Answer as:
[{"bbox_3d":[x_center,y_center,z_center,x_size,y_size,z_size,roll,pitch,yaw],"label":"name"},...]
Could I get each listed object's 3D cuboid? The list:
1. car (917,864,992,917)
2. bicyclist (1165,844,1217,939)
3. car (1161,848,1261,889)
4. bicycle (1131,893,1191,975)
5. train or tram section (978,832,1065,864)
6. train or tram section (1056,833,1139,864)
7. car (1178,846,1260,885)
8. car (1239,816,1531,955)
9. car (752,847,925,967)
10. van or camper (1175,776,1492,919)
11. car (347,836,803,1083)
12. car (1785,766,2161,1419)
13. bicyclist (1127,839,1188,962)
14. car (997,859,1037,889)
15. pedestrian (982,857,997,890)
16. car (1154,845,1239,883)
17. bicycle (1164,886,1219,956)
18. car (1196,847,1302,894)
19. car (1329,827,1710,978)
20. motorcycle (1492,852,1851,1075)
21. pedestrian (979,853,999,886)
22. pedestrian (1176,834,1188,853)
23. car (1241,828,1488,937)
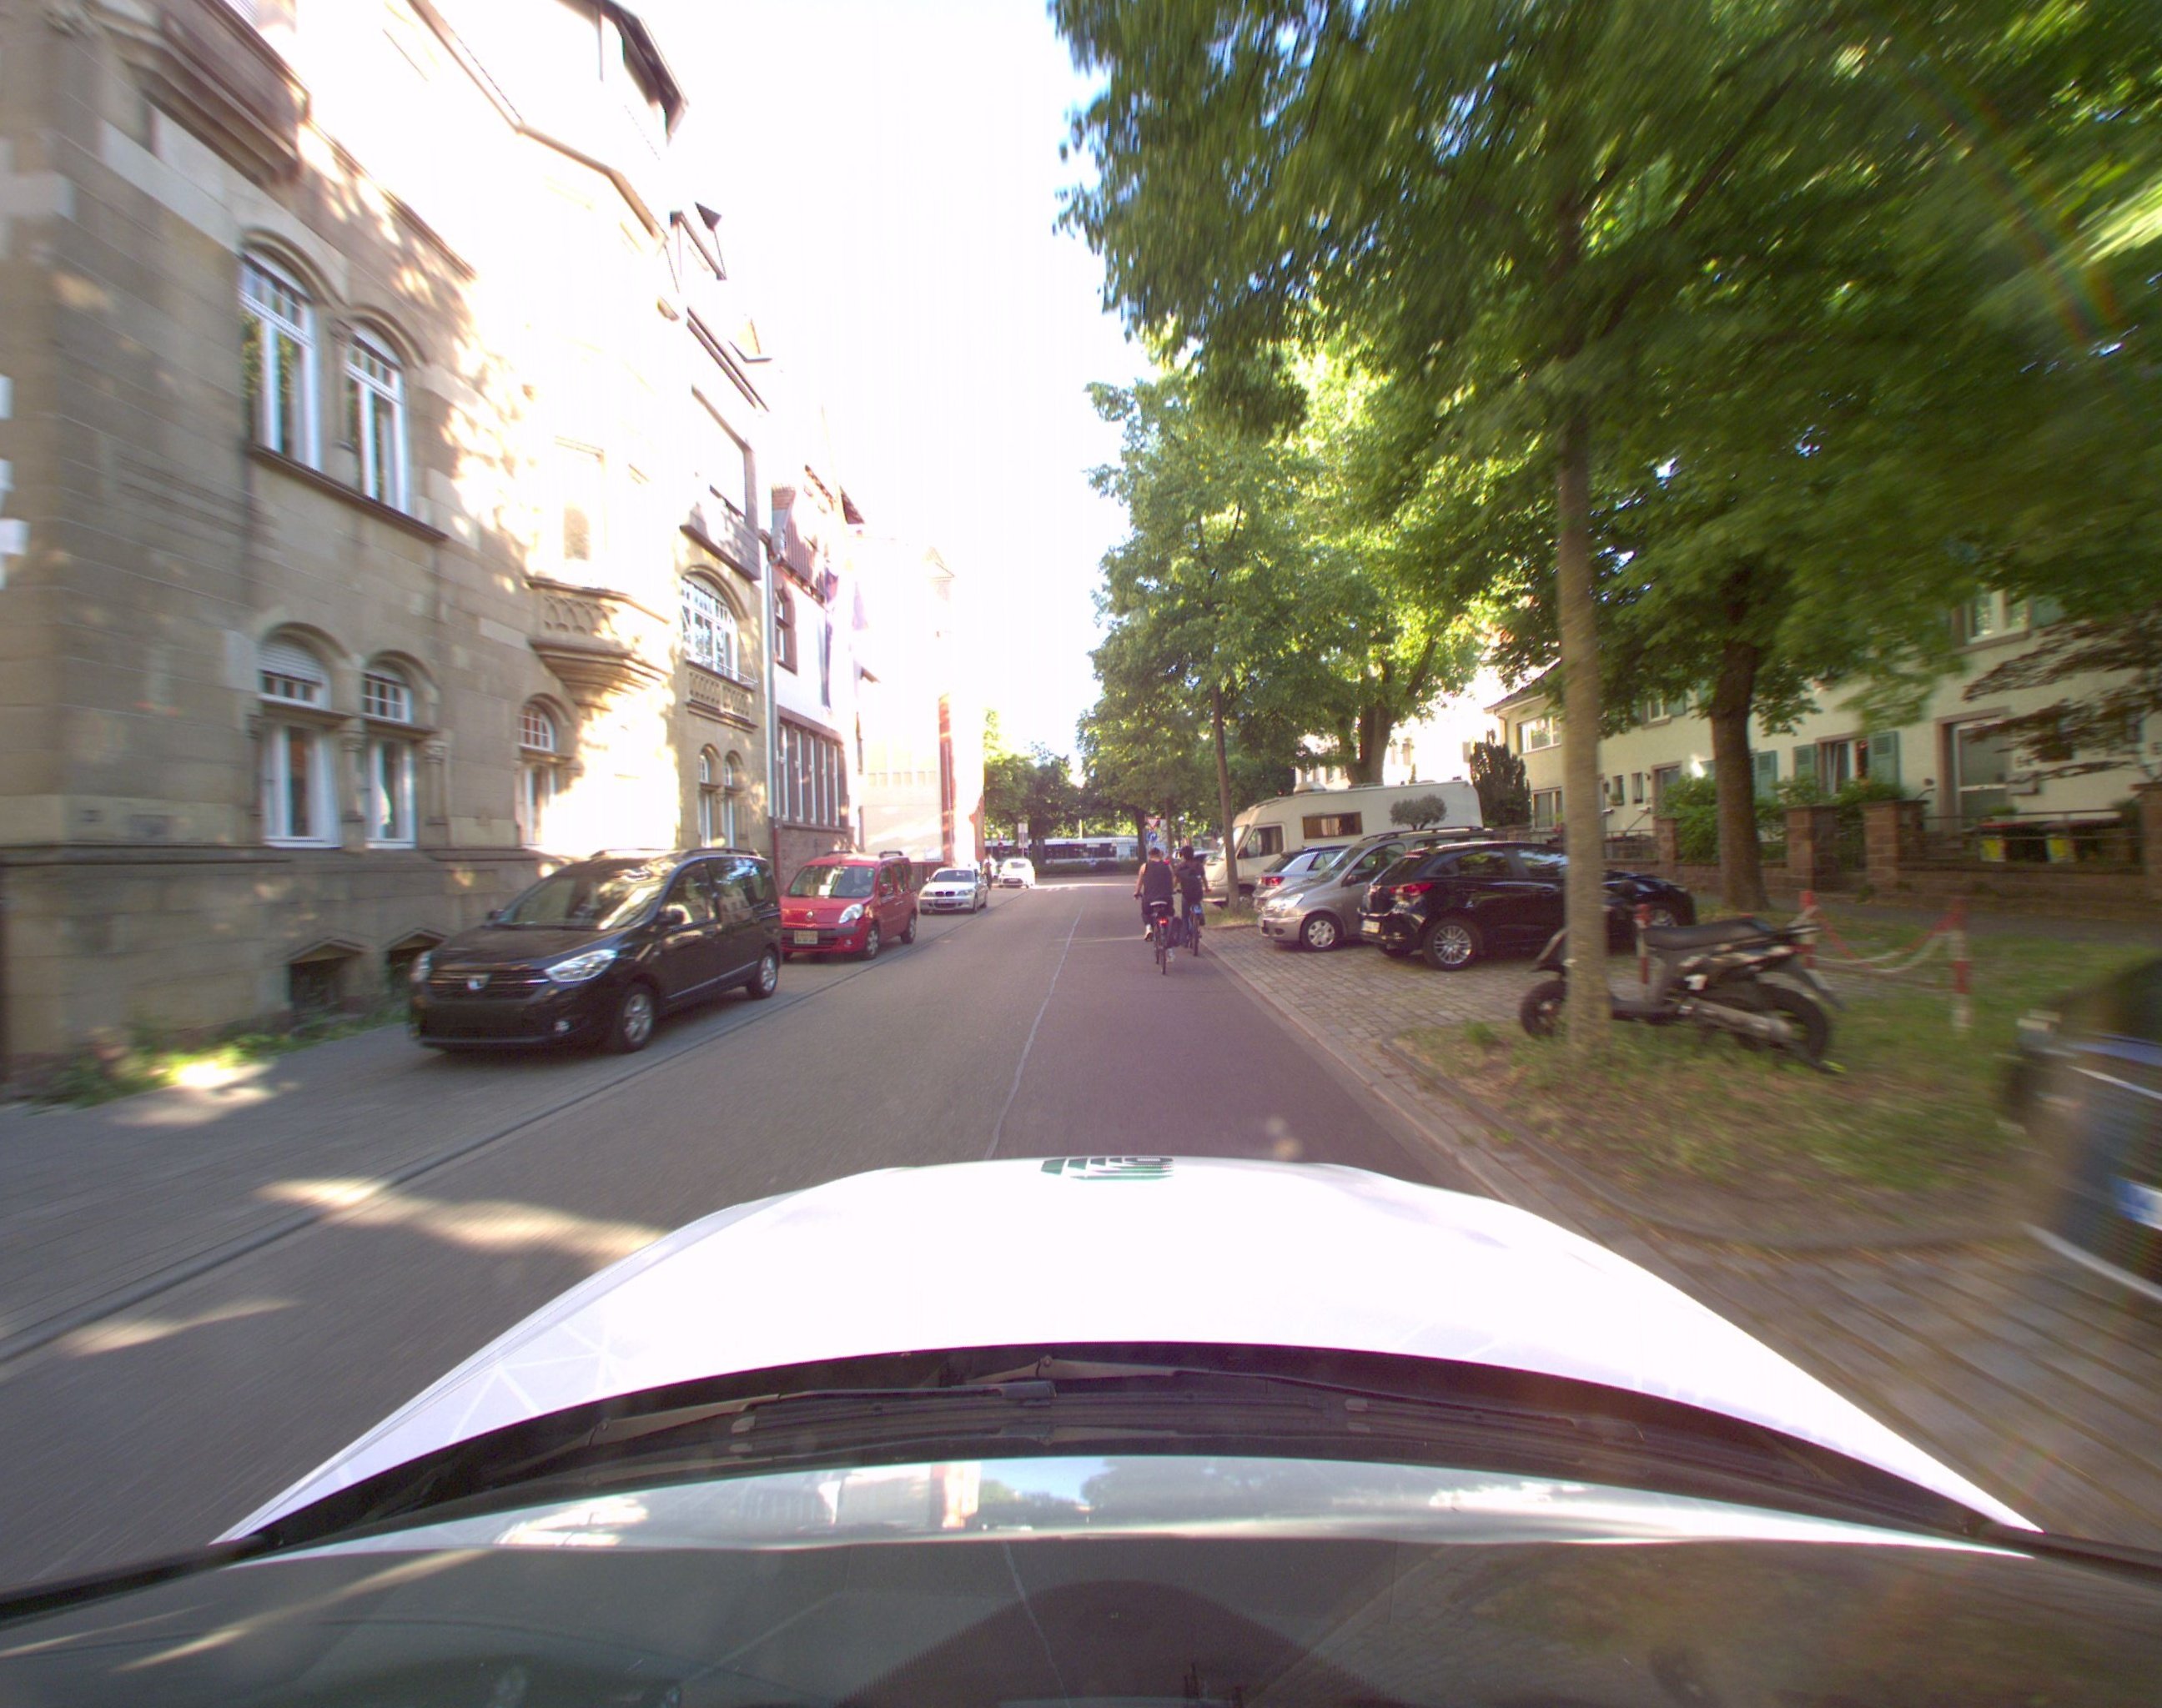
[{"bbox_3d":[-3.948,1.102,26.080,1.738,1.466,4.102,-2,0,0],"label":"car"},{"bbox_3d":[1.834,0.619,13.749,0.669,1.514,1.069,-2,-1,0],"label":"bicyclist"},{"bbox_3d":[5.642,0.632,35.707,4.090,1.411,1.793,-5,0,1],"label":"car"},{"bbox_3d":[1.115,1.102,11.778,0.735,1.012,2.062,0,-1,2],"label":"bicycle"},{"bbox_3d":[-6.105,-0.560,83.190,8.448,3.177,2.841,0,0,-21],"label":"train or tram section"},{"bbox_3d":[1.758,-0.566,86.268,8.448,3.201,2.841,0,0,-21],"label":"train or tram section"},{"bbox_3d":[6.479,0.536,38.576,3.675,1.651,1.706,-2,0,5],"label":"car"},{"bbox_3d":[4.674,0.485,12.965,3.900,1.744,1.730,-5,-1,1],"label":"car"},{"bbox_3d":[-4.299,0.852,15.197,1.791,1.907,4.326,-1,0,2],"label":"car"},{"bbox_3d":[6.090,-0.155,20.357,7.056,3.077,2.463,-2,0,-1],"label":"van or camper"},{"bbox_3d":[-4.642,0.806,8.488,1.763,1.852,4.544,-1,0,2],"label":"car"},{"bbox_3d":[4.775,0.449,2.018,4.319,1.608,1.928,-4,-1,0],"label":"car"},{"bbox_3d":[1.090,0.644,11.732,0.749,1.682,0.913,-2,-1,1],"label":"bicyclist"},{"bbox_3d":[-3.401,1.034,43.697,1.698,1.485,3.799,0,0,2],"label":"car"},{"bbox_3d":[-4.453,0.943,39.612,0.600,1.605,0.852,-2,-1,-9],"label":"pedestrian"},{"bbox_3d":[6.068,0.487,43.023,4.097,1.712,2.022,-3,0,-3],"label":"car"},{"bbox_3d":[1.856,1.105,13.913,0.671,1.054,2.061,-2,-2,1],"label":"bicycle"},{"bbox_3d":[6.236,0.580,30.534,3.577,1.505,1.678,-3,0,0],"label":"car"},{"bbox_3d":[5.430,0.570,10.415,3.868,1.473,1.785,-4,-1,-4],"label":"car"},{"bbox_3d":[3.787,0.625,5.345,0.742,1.197,1.755,-2,-1,-42],"label":"motorcycle"},{"bbox_3d":[-4.783,0.807,42.571,0.864,1.643,0.861,-2,0,1],"label":"pedestrian"},{"bbox_3d":[9.064,-0.952,72.861,0.909,1.684,0.782,-3,0,11],"label":"pedestrian"},{"bbox_3d":[5.176,0.522,15.350,3.945,1.598,1.905,-5,-1,4],"label":"car"}]
